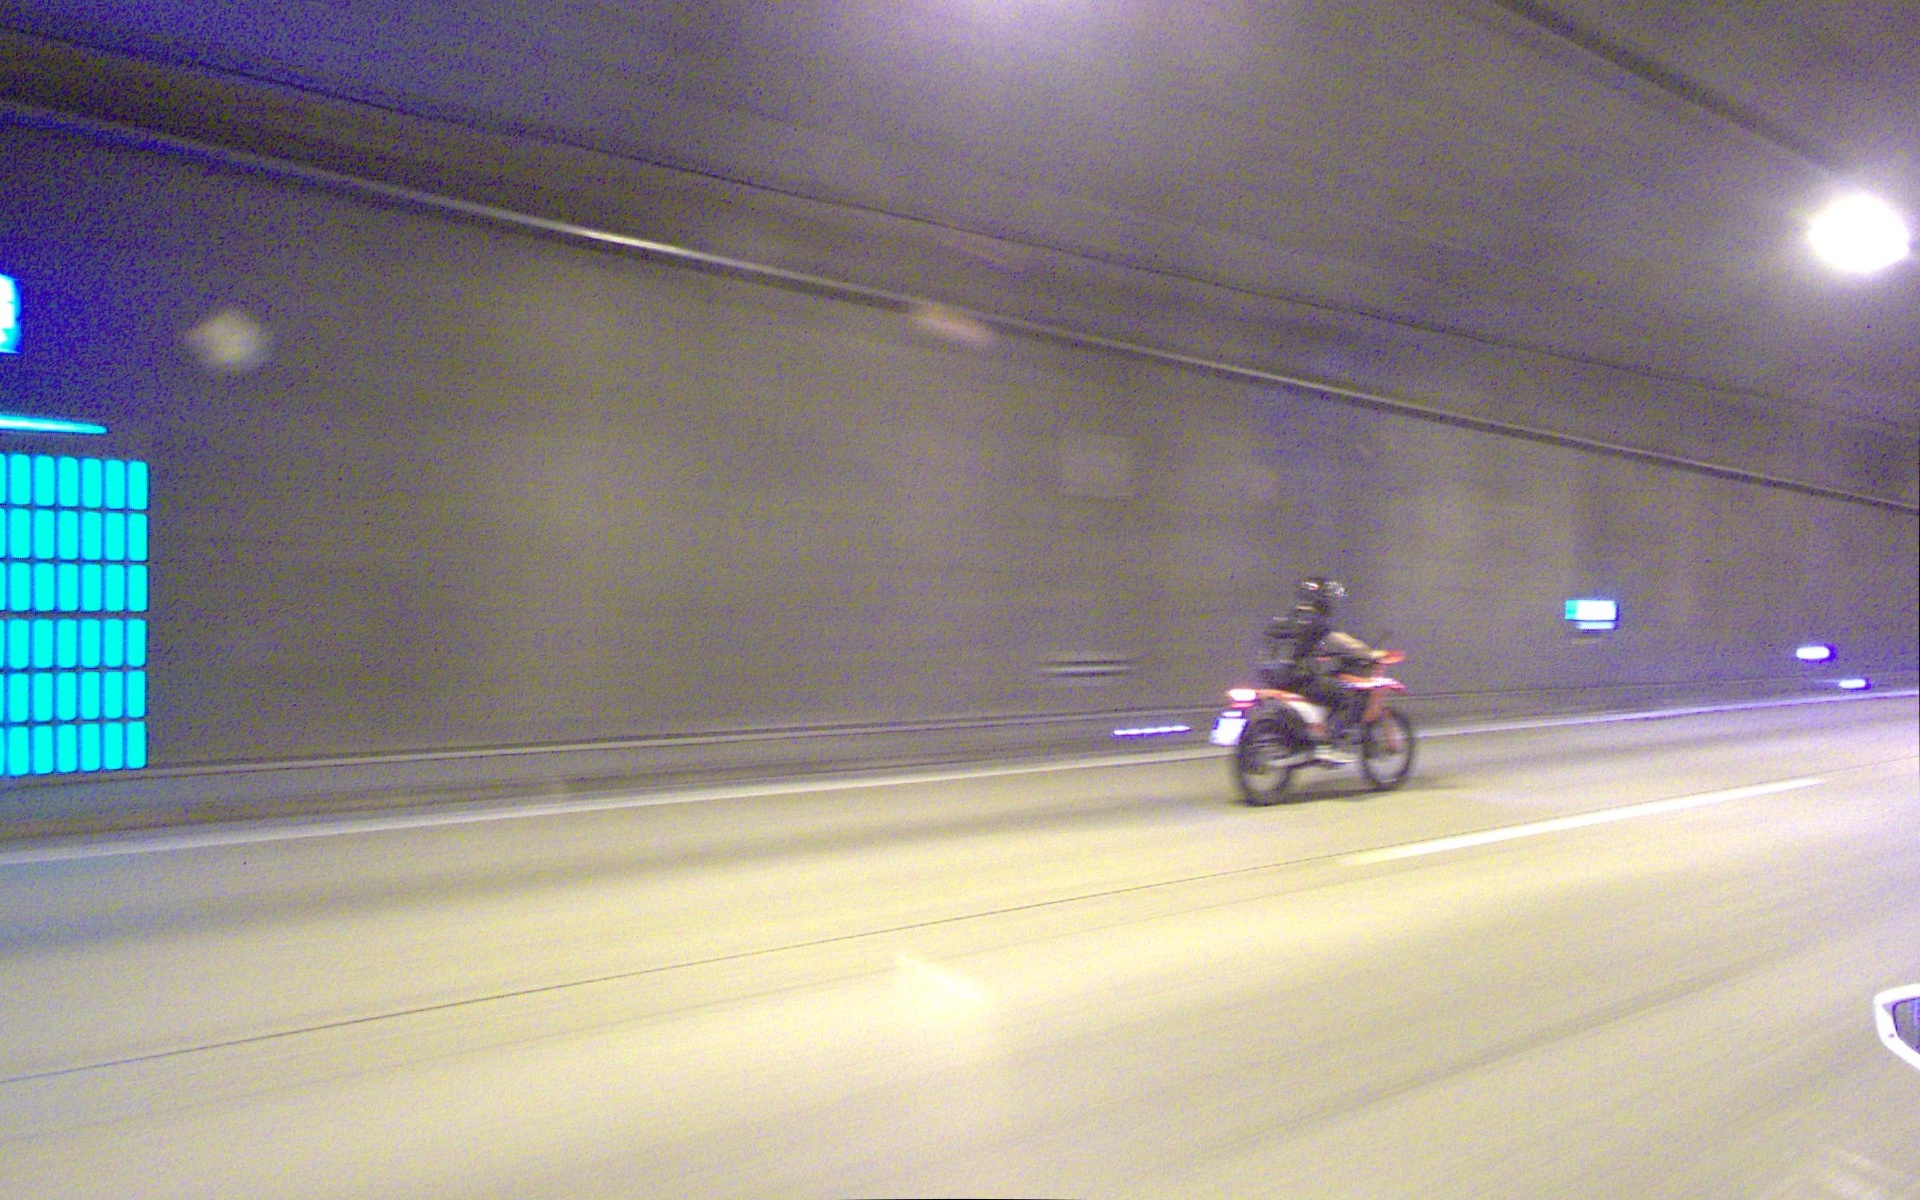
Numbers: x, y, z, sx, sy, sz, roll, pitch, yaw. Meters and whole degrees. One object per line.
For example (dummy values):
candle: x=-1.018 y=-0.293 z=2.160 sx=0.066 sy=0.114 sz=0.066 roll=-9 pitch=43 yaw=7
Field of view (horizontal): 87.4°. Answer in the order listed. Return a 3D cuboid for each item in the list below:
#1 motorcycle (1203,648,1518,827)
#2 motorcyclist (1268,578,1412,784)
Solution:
motorcycle: x=3.181 y=0.993 z=7.922 sx=2.399 sy=1.173 sz=1.048 roll=2 pitch=0 yaw=-31
motorcyclist: x=2.976 y=0.603 z=7.876 sx=0.880 sy=1.509 sz=0.623 roll=2 pitch=0 yaw=-32
